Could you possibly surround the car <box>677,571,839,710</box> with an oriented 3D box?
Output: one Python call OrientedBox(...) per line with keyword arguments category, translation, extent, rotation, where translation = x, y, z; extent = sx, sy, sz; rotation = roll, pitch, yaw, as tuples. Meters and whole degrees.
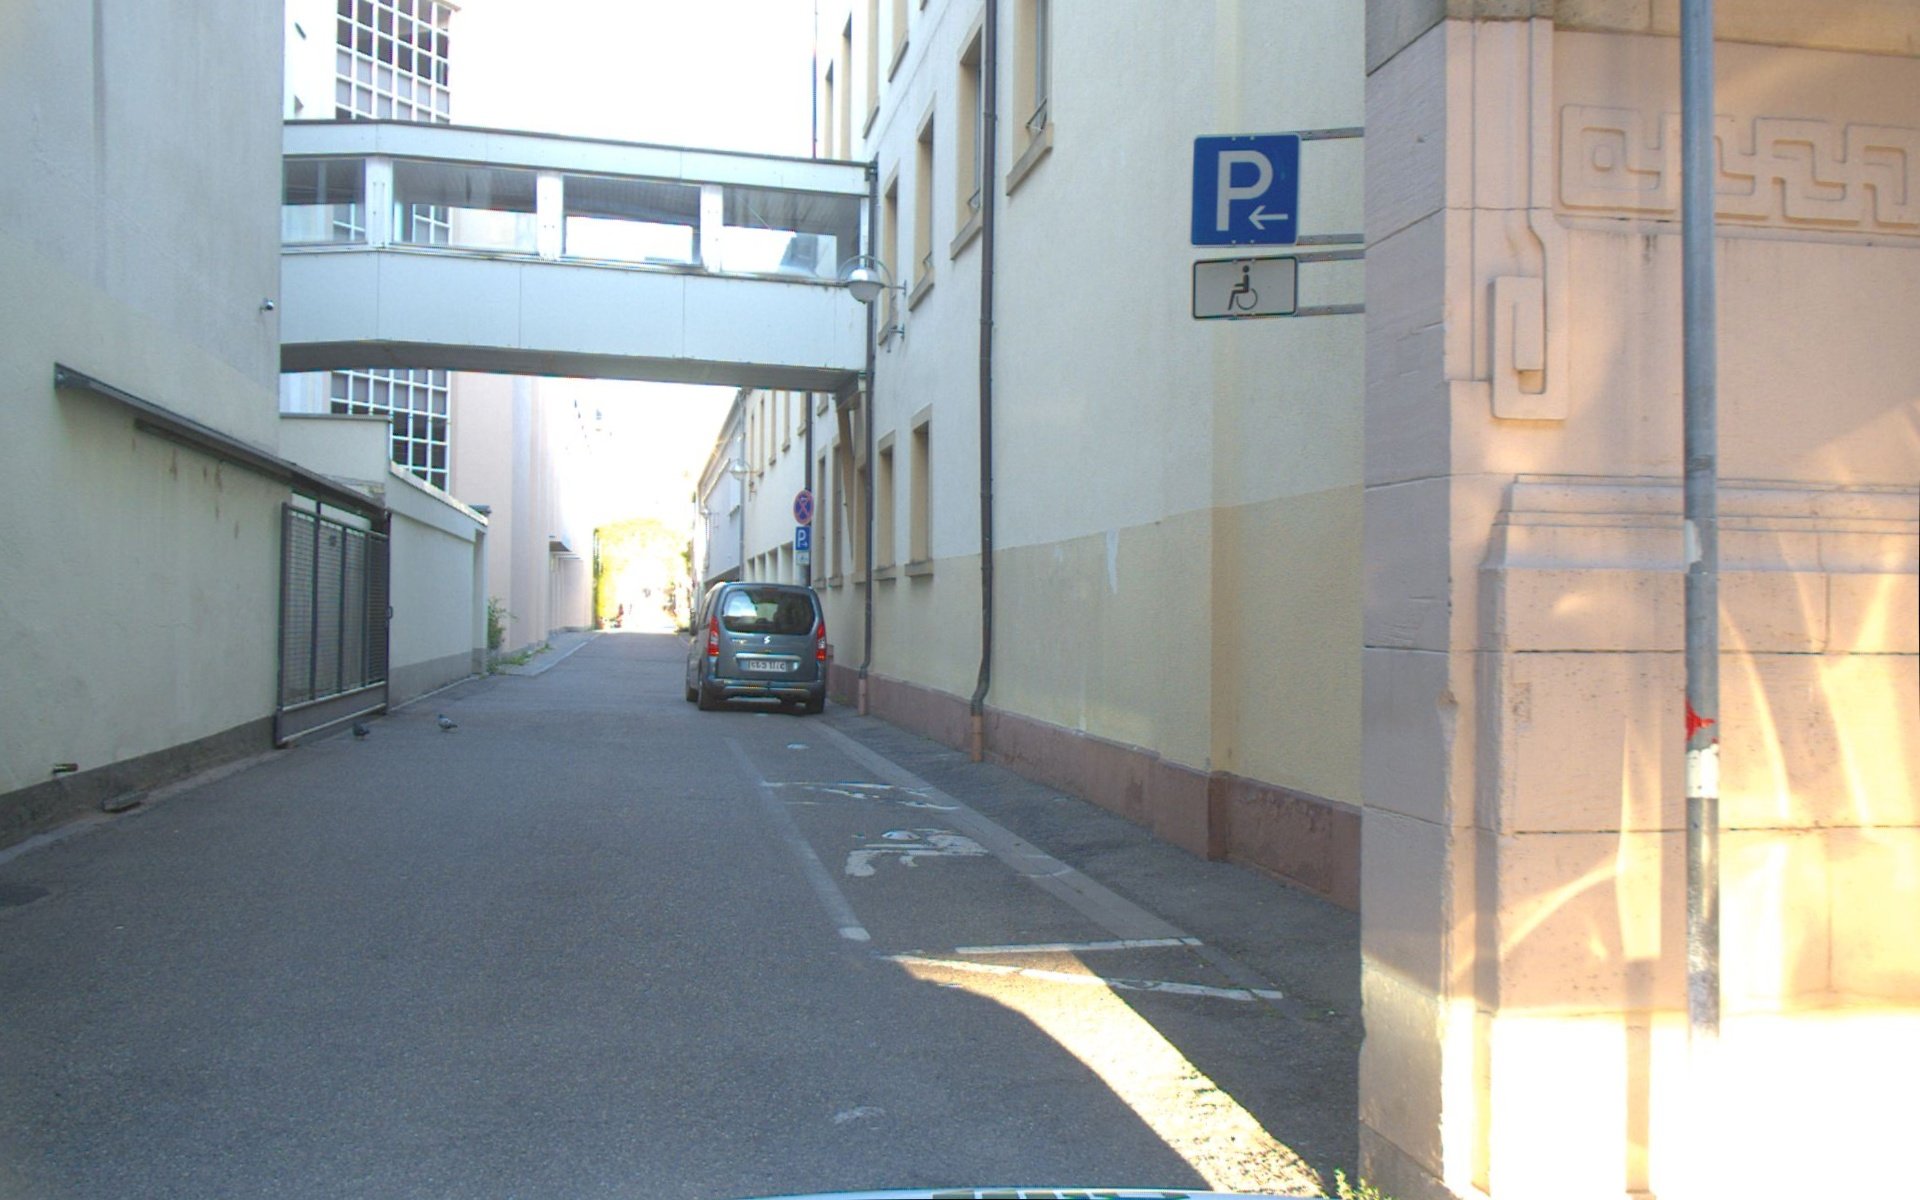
OrientedBox(category="car", translation=(-3.080, 0.598, 24.554), extent=(1.824, 1.786, 4.147), rotation=(4, -2, -14))
